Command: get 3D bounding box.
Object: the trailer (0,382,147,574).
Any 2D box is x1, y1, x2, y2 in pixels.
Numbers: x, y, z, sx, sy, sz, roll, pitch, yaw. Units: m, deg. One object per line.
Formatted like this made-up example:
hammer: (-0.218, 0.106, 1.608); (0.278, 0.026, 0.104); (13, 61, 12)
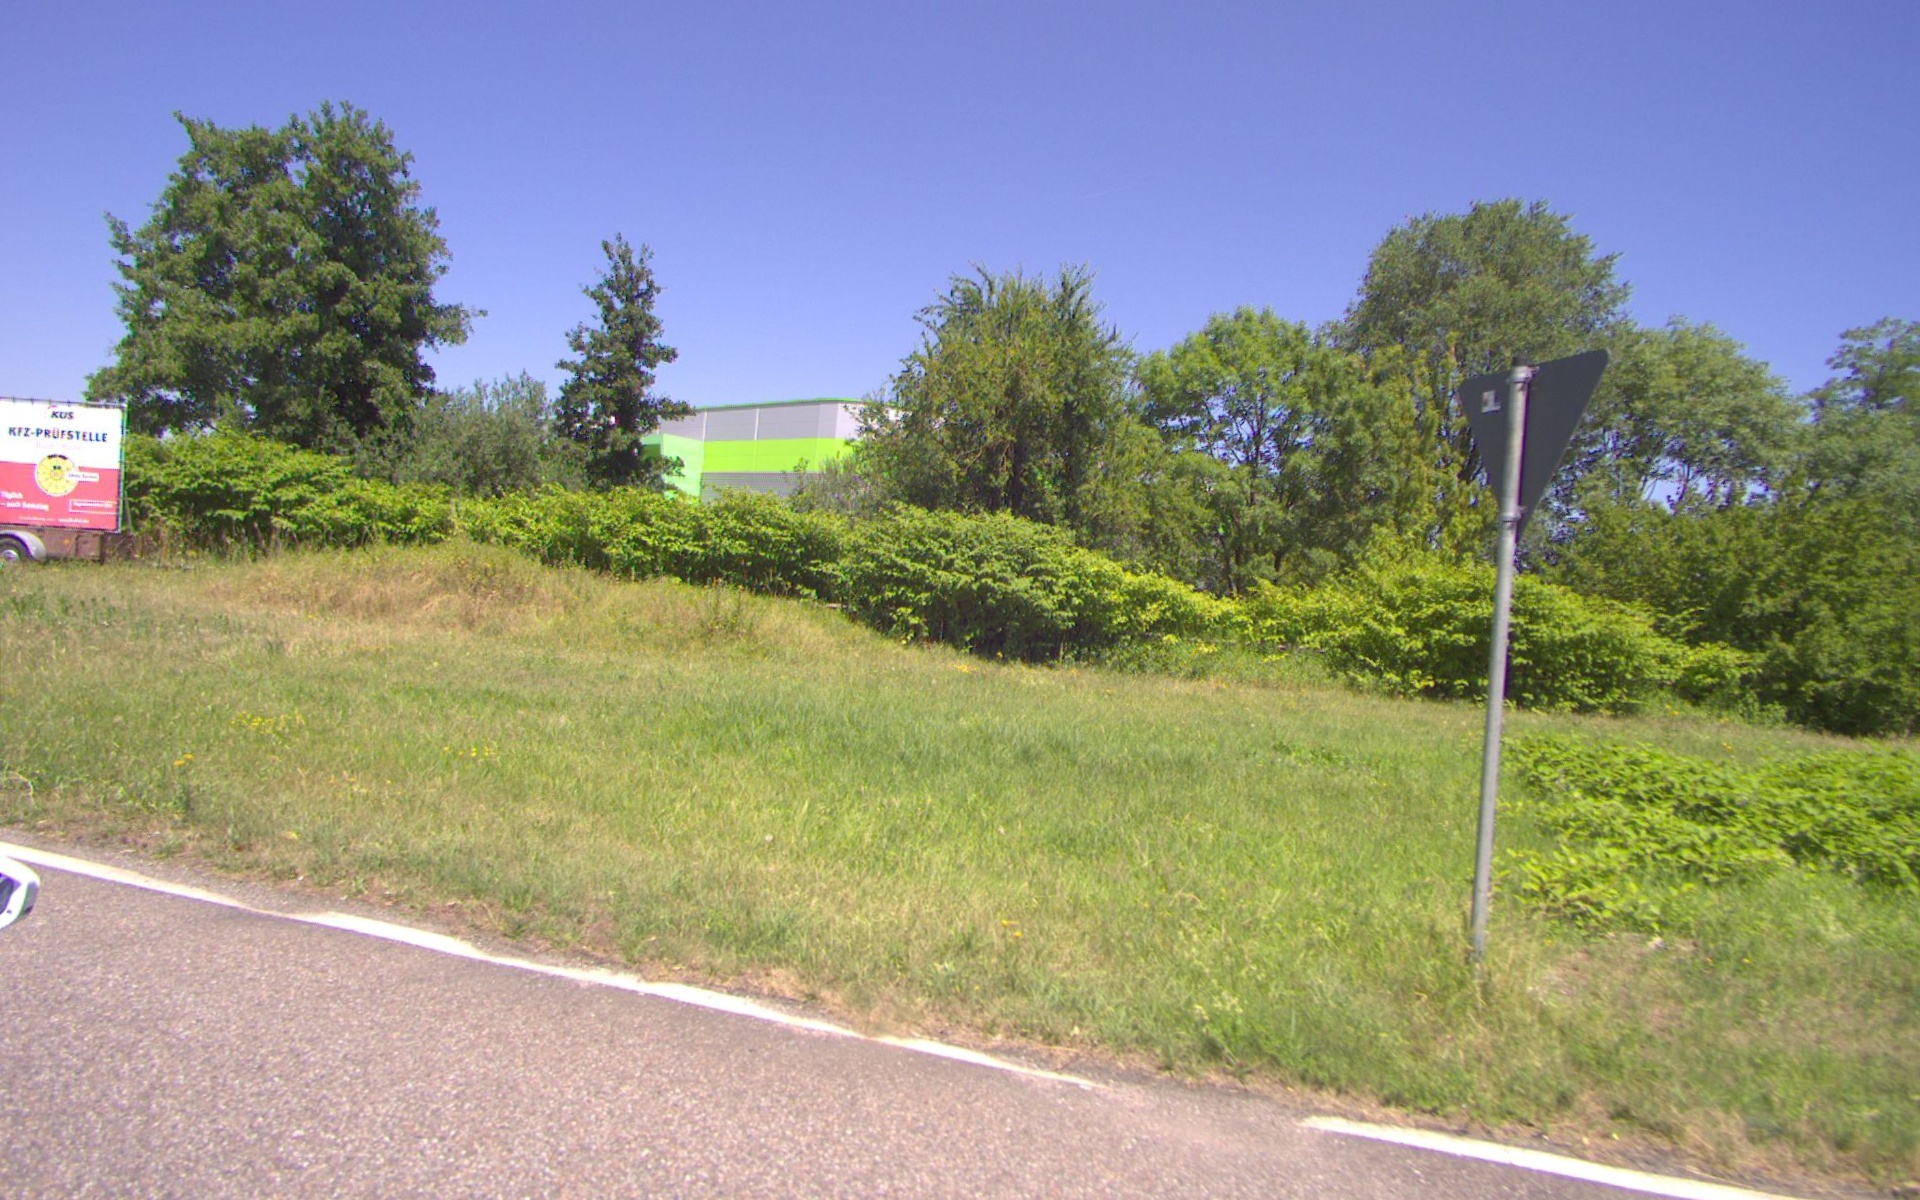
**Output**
trailer: (-15.047, -1.932, 15.634); (3.091, 2.705, 1.850); (6, 1, -5)
